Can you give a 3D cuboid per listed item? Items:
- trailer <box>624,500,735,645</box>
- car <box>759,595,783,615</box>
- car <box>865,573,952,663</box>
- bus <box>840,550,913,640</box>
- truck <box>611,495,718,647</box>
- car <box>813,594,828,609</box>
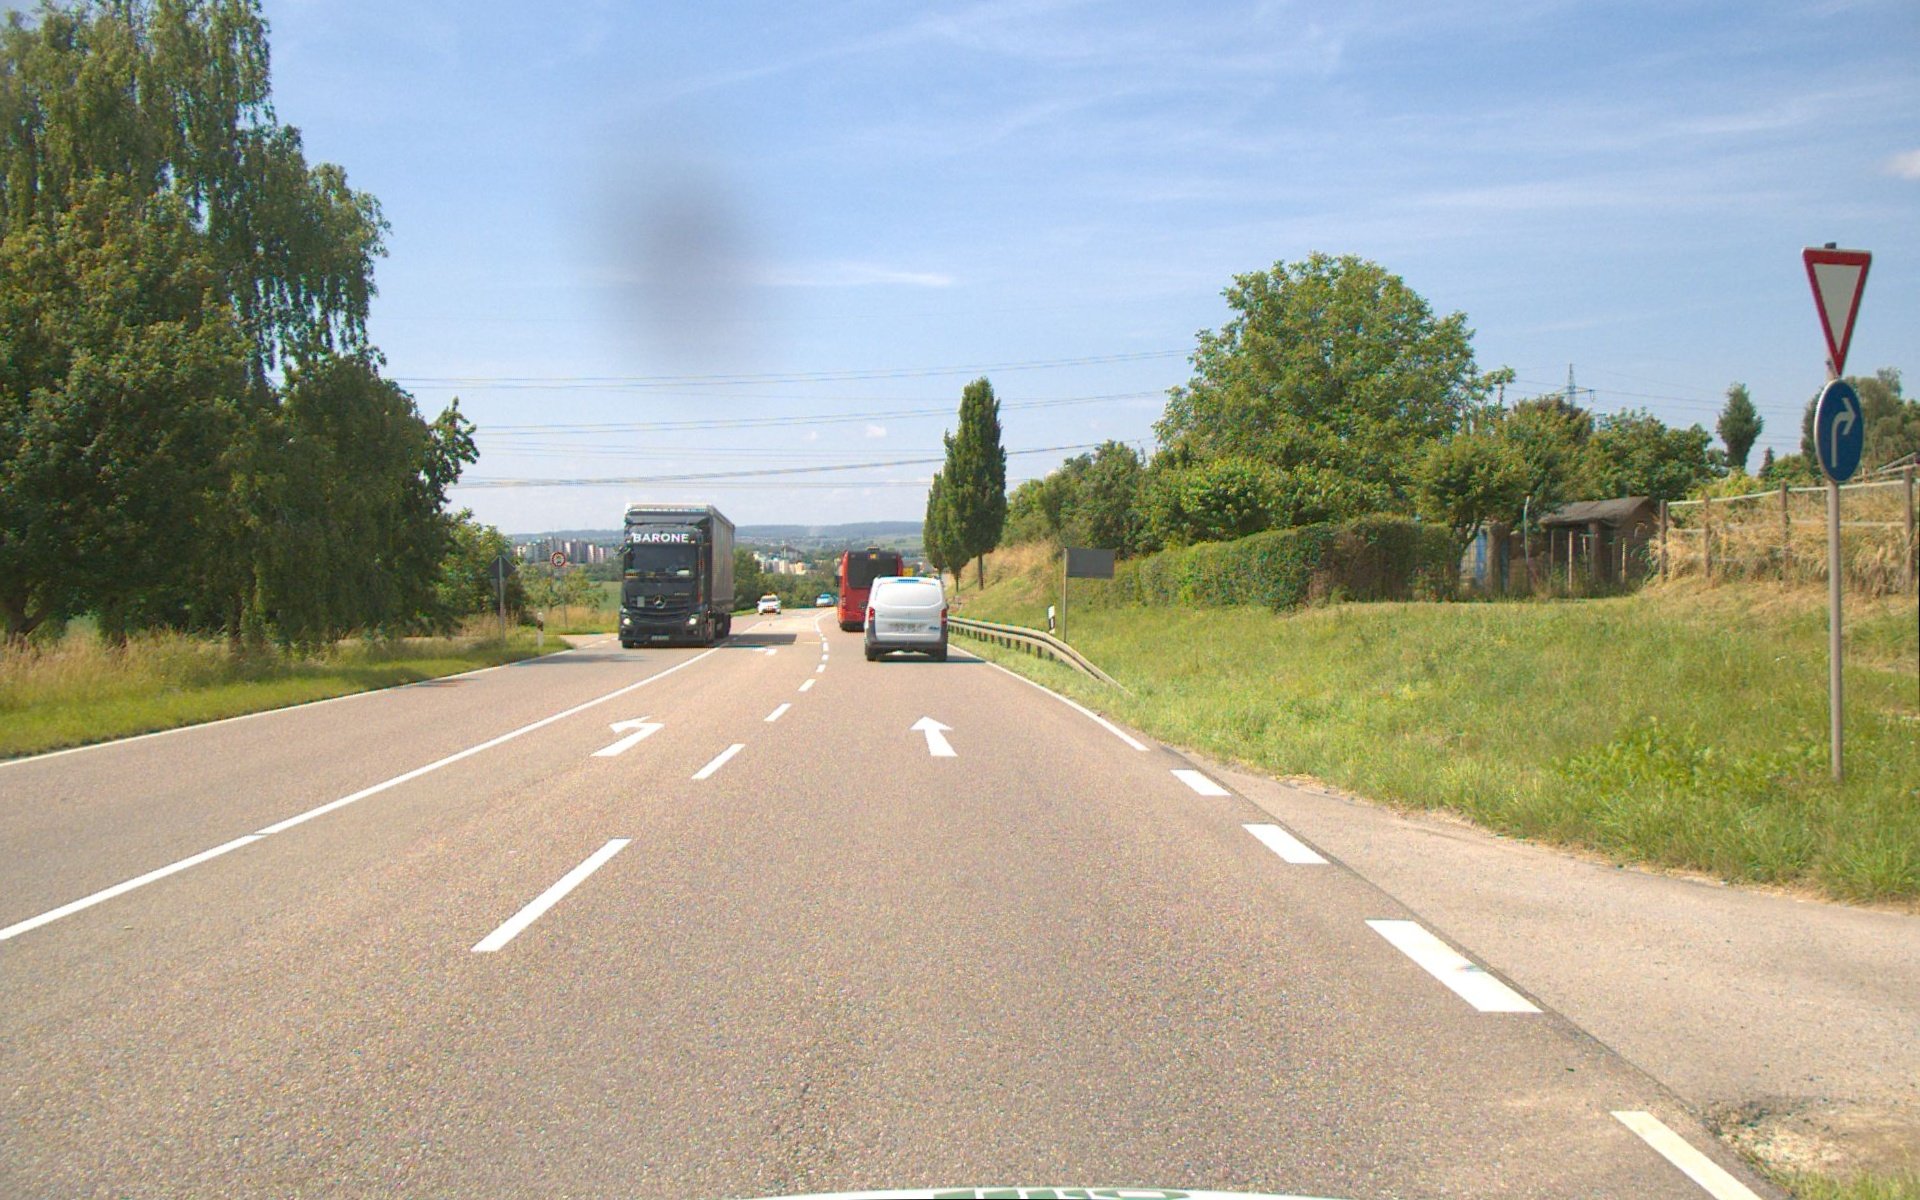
[{"bbox_3d":[-9.148,-0.841,55.241,2.542,4.215,13.726,0,0,-5],"label":"trailer"},{"bbox_3d":[-16.215,0.399,141.767,1.817,1.593,4.071,-2,0,-4],"label":"car"},{"bbox_3d":[-1.173,0.375,38.732,1.884,1.922,3.999,-2,1,-1],"label":"car"},{"bbox_3d":[-3.823,-0.404,72.674,2.693,3.411,13.212,-3,2,-4],"label":"bus"},{"bbox_3d":[-8.566,-0.823,48.434,2.534,4.176,5.436,0,0,-5],"label":"truck"},{"bbox_3d":[-17.659,0.180,209.335,1.731,1.717,3.823,-2,0,-3],"label":"car"}]
